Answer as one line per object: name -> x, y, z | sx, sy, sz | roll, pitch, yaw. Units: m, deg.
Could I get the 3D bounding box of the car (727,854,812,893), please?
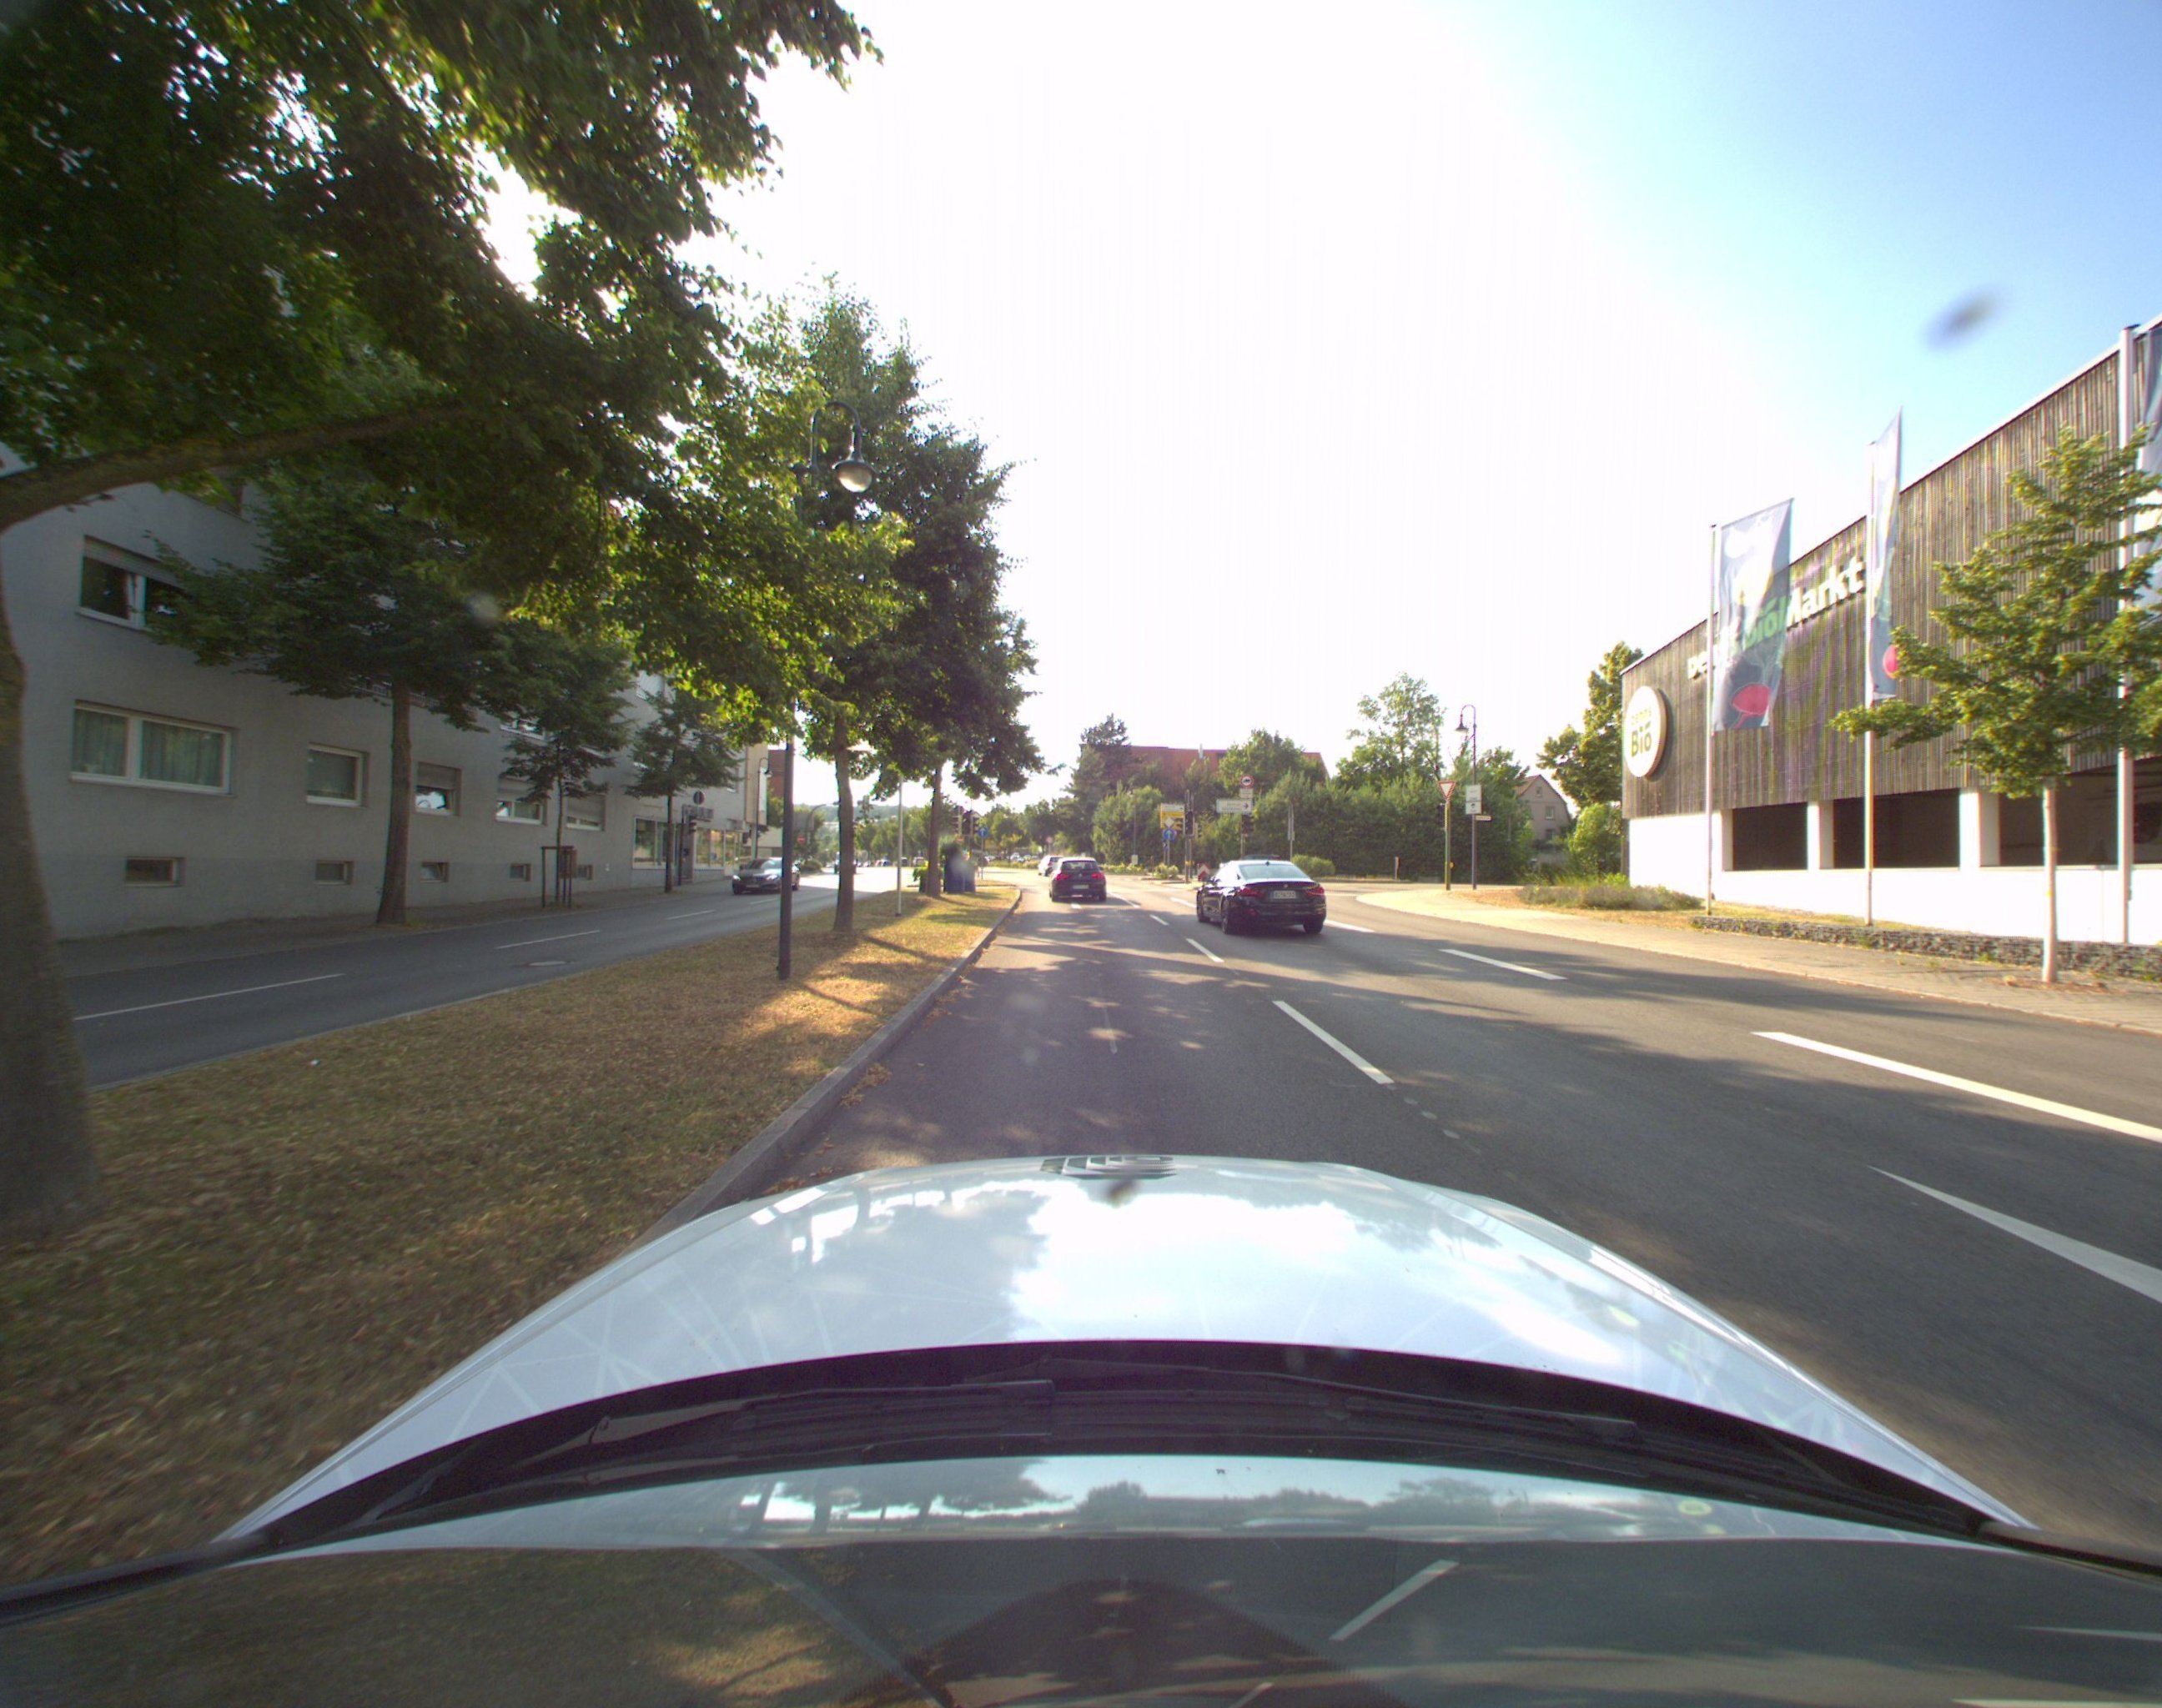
car -> -13.003, 0.788, 34.311 | 1.848, 1.486, 4.990 | -1, 0, -3

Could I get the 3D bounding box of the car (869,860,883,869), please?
car -> -42.095, 2.144, 167.158 | 2.224, 1.769, 4.424 | 0, 0, -20

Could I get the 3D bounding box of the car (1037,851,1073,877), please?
car -> -1.966, 0.718, 59.512 | 1.926, 1.769, 4.436 | 0, 0, -12

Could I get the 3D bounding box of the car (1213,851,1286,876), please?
car -> 10.887, 0.586, 52.747 | 4.216, 1.567, 1.804 | 0, 0, 32

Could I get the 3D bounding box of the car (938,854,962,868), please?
car -> -17.271, 0.905, 107.187 | 2.224, 1.769, 4.424 | 0, 0, -20

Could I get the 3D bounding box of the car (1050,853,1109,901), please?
car -> 0.014, 0.729, 27.371 | 1.714, 1.490, 4.356 | 0, 0, 3

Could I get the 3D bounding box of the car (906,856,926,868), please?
car -> -23.710, 1.125, 116.895 | 2.224, 1.769, 4.424 | 0, 0, -20

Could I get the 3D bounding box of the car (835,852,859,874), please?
car -> -20.059, 0.774, 69.931 | 1.856, 1.736, 4.896 | -1, 0, -15

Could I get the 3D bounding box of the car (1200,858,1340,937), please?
car -> 3.632, 0.776, 16.441 | 1.913, 1.364, 4.354 | -1, -1, 1

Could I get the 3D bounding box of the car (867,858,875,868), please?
car -> -45.766, 1.907, 177.434 | 1.776, 2.014, 3.979 | 0, 0, -15
